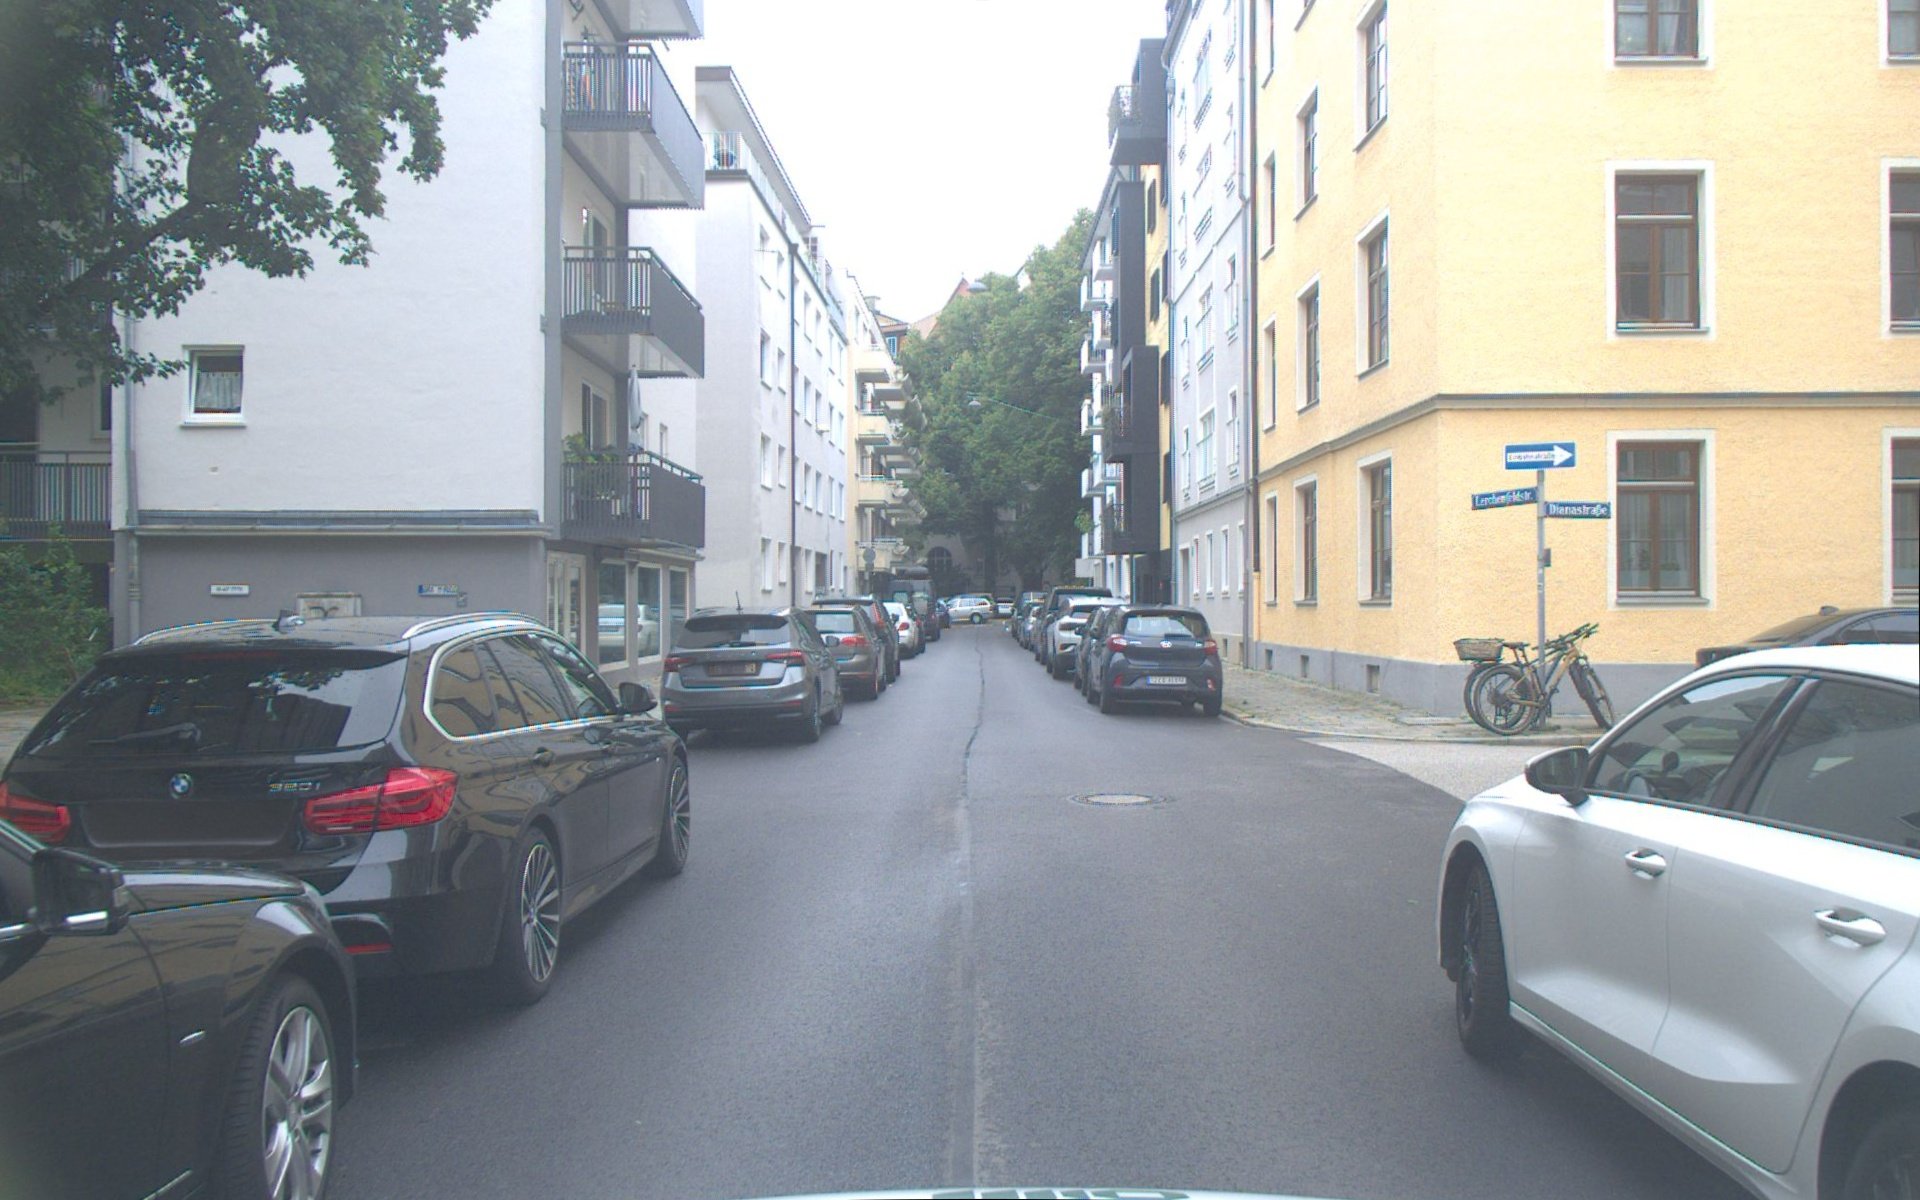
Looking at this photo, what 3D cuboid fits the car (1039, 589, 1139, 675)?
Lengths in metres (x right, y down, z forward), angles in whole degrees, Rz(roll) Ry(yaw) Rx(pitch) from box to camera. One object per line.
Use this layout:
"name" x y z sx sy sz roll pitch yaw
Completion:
"car" 2.595 0.607 34.213 1.648 1.595 4.415 2 0 0

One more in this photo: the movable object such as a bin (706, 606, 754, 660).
"movable object such as a bin" -5.988 0.855 43.098 1.025 1.360 0.993 -2 0 3

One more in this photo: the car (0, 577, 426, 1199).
"car" -2.344 0.731 2.181 1.729 1.509 4.424 -1 -1 1

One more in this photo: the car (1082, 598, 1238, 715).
"car" 2.847 0.756 24.379 1.715 1.495 4.343 2 0 0

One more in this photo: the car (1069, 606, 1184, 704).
"car" 2.823 0.897 28.649 1.629 1.495 3.819 2 0 1

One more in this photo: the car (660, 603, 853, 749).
"car" -2.246 0.798 19.189 1.658 1.467 3.942 -1 0 1

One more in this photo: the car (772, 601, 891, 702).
"car" -2.023 0.777 26.883 1.658 1.467 3.976 -1 0 -1

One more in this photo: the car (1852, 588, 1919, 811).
"car" 8.265 0.643 10.533 4.120 1.424 1.999 0 2 -3

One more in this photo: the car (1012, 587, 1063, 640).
"car" 3.177 0.527 68.303 1.792 2.034 4.415 3 0 0

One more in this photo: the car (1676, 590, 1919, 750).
"car" 9.658 0.679 16.692 4.127 1.520 1.711 0 -1 -2

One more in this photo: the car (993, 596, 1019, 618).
"car" 3.074 0.471 111.231 1.609 1.407 3.745 -3 0 0

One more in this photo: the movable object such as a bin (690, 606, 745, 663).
"movable object such as a bin" -6.146 0.868 42.022 1.142 1.360 1.026 -2 0 3

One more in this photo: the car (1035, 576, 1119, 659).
"car" 2.902 0.417 41.851 1.792 1.943 4.415 2 0 0

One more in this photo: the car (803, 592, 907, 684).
"car" -2.002 0.708 32.711 1.740 1.658 4.414 -1 0 0

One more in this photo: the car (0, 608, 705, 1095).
"car" -2.412 0.782 7.242 1.817 1.433 4.383 -1 0 1

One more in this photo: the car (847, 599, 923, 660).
"car" -2.014 0.777 45.677 1.740 1.513 4.519 -3 0 1

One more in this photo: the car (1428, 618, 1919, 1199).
"car" 2.625 0.796 4.118 1.782 1.433 3.951 1 0 0

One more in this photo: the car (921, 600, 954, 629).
"car" -1.190 0.747 88.080 1.609 1.407 3.482 -3 0 0

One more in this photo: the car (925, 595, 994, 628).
"car" -0.027 0.651 94.139 3.807 1.612 1.647 -3 0 -1

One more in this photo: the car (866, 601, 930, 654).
"car" -1.863 0.809 50.812 1.740 1.478 4.046 -3 0 0

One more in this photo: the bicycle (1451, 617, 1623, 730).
"bicycle" 6.566 0.827 18.858 1.771 1.194 0.505 -2 1 -2

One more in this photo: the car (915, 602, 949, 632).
"car" -1.387 0.871 84.284 1.609 1.407 3.482 -3 0 0

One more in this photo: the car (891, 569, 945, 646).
"car" -1.632 0.288 65.406 1.897 2.850 4.532 -3 0 0

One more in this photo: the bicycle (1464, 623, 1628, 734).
"bicycle" 6.492 0.860 18.337 1.678 1.159 0.374 -2 1 -1

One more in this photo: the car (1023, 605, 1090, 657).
"car" 3.024 0.946 52.608 1.792 1.479 4.415 3 0 0

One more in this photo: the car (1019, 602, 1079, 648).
"car" 3.080 0.856 58.093 1.792 1.479 4.415 3 0 0
